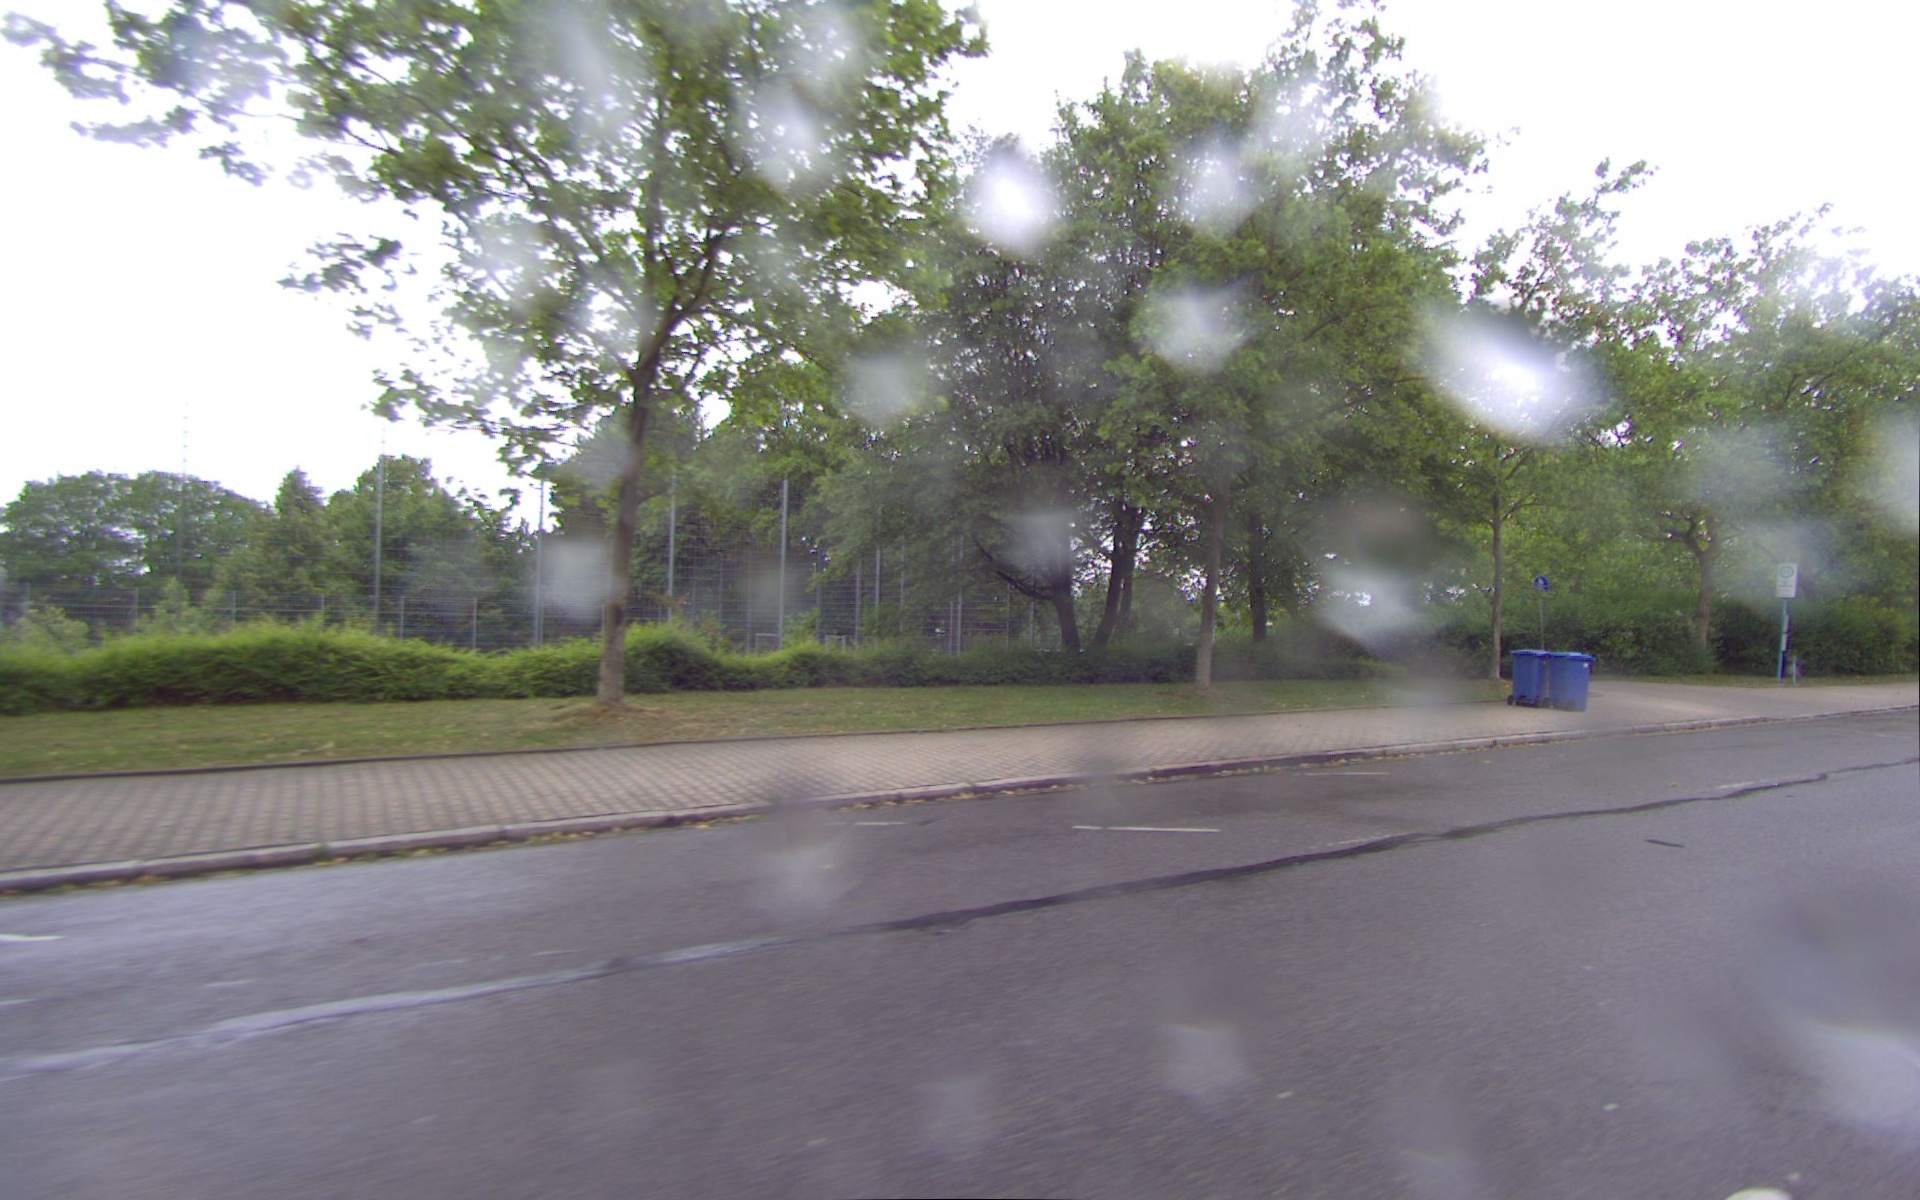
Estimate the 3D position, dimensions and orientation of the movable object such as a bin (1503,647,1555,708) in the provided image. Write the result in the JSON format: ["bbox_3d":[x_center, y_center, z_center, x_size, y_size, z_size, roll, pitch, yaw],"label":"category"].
[{"bbox_3d":[10.916,1.471,19.262,0.663,1.113,0.564,1,2,-29],"label":"movable object such as a bin"}]

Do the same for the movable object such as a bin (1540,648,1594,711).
[{"bbox_3d":[11.379,1.485,18.836,0.663,1.113,0.564,1,2,-29],"label":"movable object such as a bin"}]
